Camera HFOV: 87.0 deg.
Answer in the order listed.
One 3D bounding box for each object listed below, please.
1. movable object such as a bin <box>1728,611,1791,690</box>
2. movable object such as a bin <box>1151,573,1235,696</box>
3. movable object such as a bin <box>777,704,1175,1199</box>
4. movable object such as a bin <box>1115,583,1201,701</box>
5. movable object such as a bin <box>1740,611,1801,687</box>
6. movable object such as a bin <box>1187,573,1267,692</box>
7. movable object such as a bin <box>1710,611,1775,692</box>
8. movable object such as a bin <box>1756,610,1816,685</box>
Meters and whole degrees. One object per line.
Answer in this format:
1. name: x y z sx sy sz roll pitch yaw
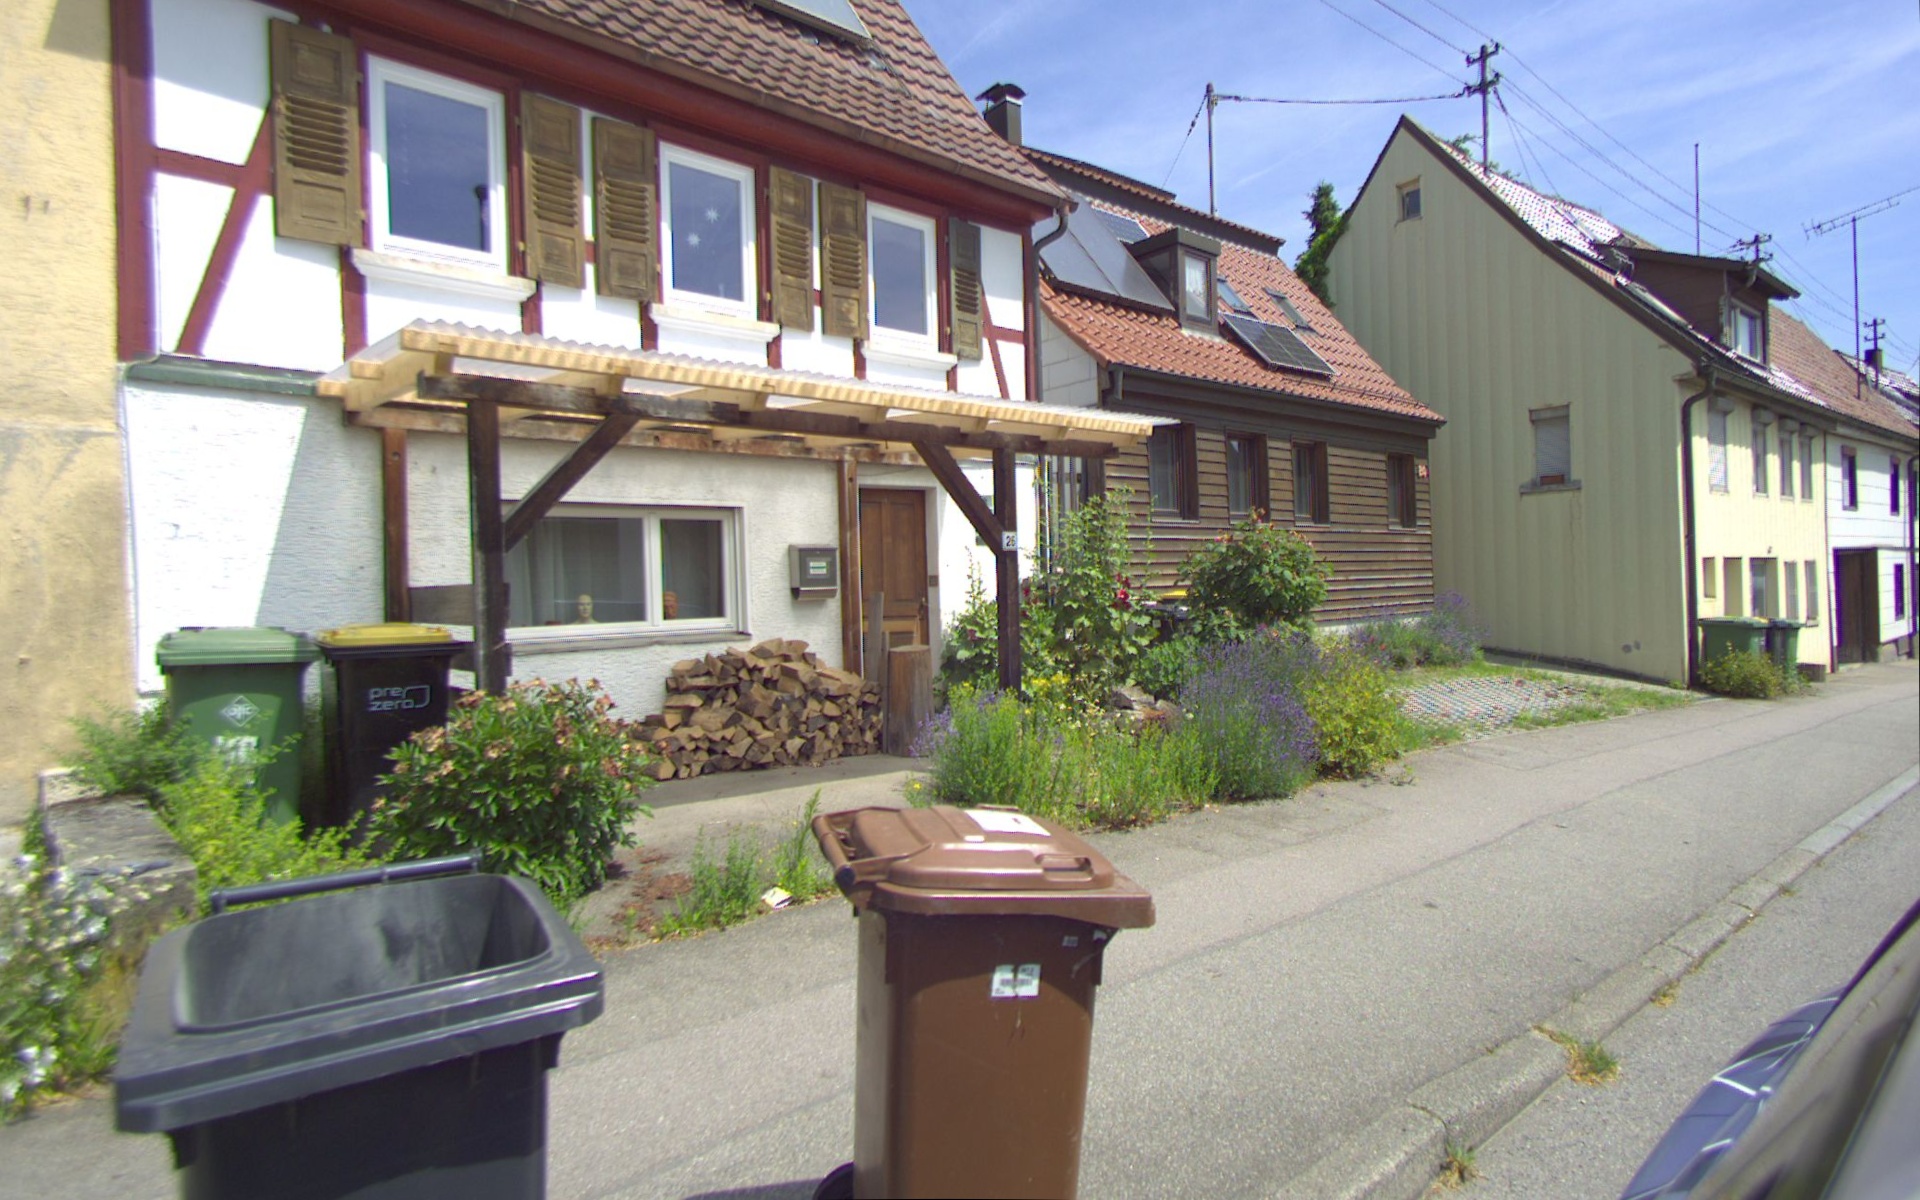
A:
1. movable object such as a bin: 11.227 0.693 14.209 0.541 1.046 0.548 1 2 -38
2. movable object such as a bin: 2.376 0.337 10.333 0.540 1.171 0.536 0 6 -43
3. movable object such as a bin: -0.008 0.747 1.789 0.537 1.046 0.497 1 3 -18
4. movable object such as a bin: 1.944 0.392 9.939 0.540 1.069 0.536 0 6 -43
5. movable object such as a bin: 11.674 0.692 14.577 0.541 1.046 0.548 1 2 -38
6. movable object such as a bin: 2.825 0.329 10.721 0.502 1.171 0.536 0 6 -43
7. movable object such as a bin: 10.687 0.694 13.827 0.541 1.046 0.548 1 2 -38
8. movable object such as a bin: 12.220 0.693 14.971 0.541 1.046 0.548 1 2 -38
